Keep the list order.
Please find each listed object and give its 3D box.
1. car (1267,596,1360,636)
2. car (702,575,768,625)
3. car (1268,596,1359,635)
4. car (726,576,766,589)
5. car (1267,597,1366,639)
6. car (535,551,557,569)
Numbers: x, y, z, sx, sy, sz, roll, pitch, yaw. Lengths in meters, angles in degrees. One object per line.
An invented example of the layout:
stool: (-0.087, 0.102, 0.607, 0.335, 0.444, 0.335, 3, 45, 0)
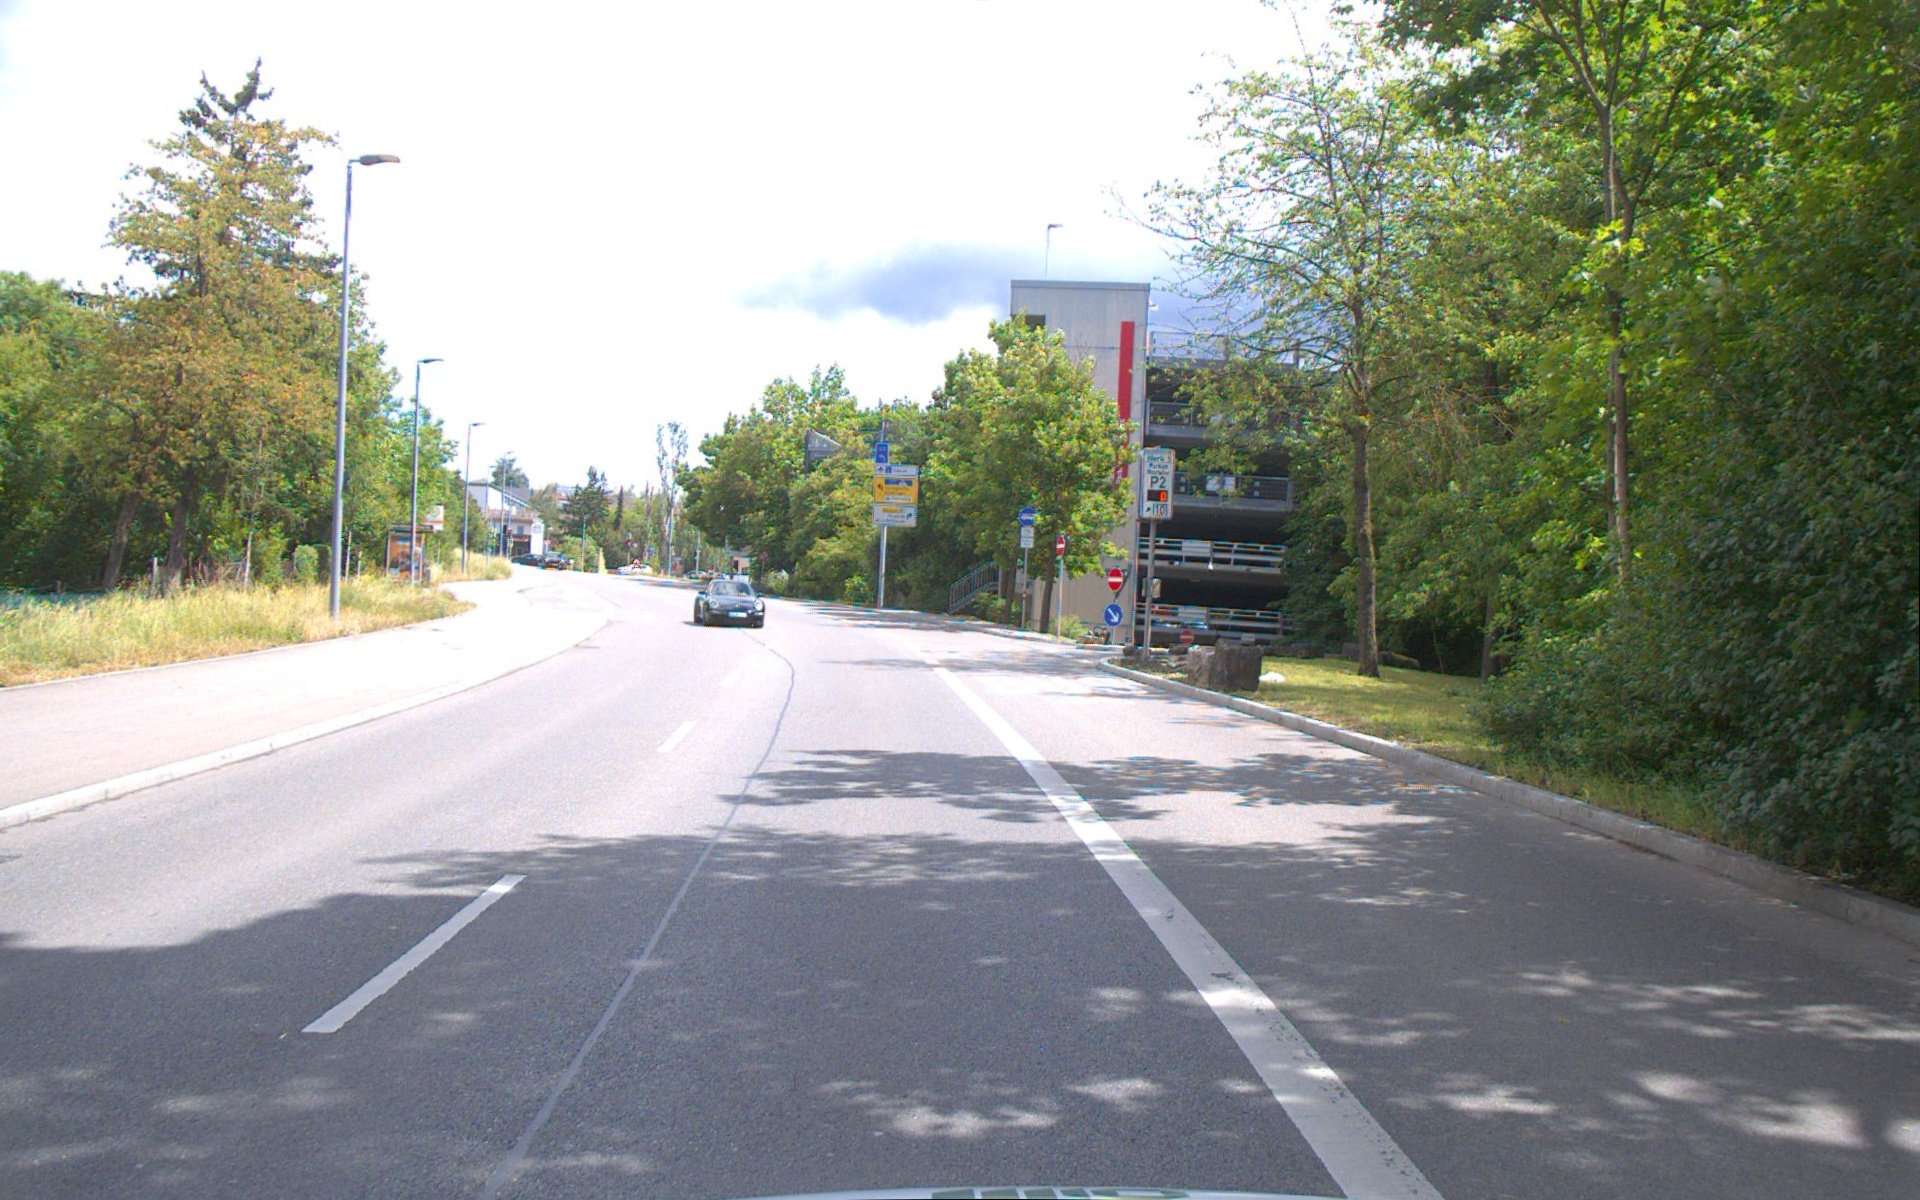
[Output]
car: (16.958, 0.744, 79.372, 4.222, 1.659, 2.002, 3, 0, 12)
car: (-6.451, -0.023, 47.663, 1.701, 1.323, 4.000, 2, 0, -6)
car: (17.374, 0.760, 81.400, 4.222, 1.659, 2.002, 3, 0, 12)
car: (-24.502, -2.022, 189.449, 4.505, 1.314, 1.908, 2, 0, -6)
car: (16.107, 0.801, 74.823, 4.222, 1.659, 2.002, 3, 0, 12)
car: (-38.014, -3.665, 151.697, 1.793, 1.584, 4.609, 1, 1, -16)
